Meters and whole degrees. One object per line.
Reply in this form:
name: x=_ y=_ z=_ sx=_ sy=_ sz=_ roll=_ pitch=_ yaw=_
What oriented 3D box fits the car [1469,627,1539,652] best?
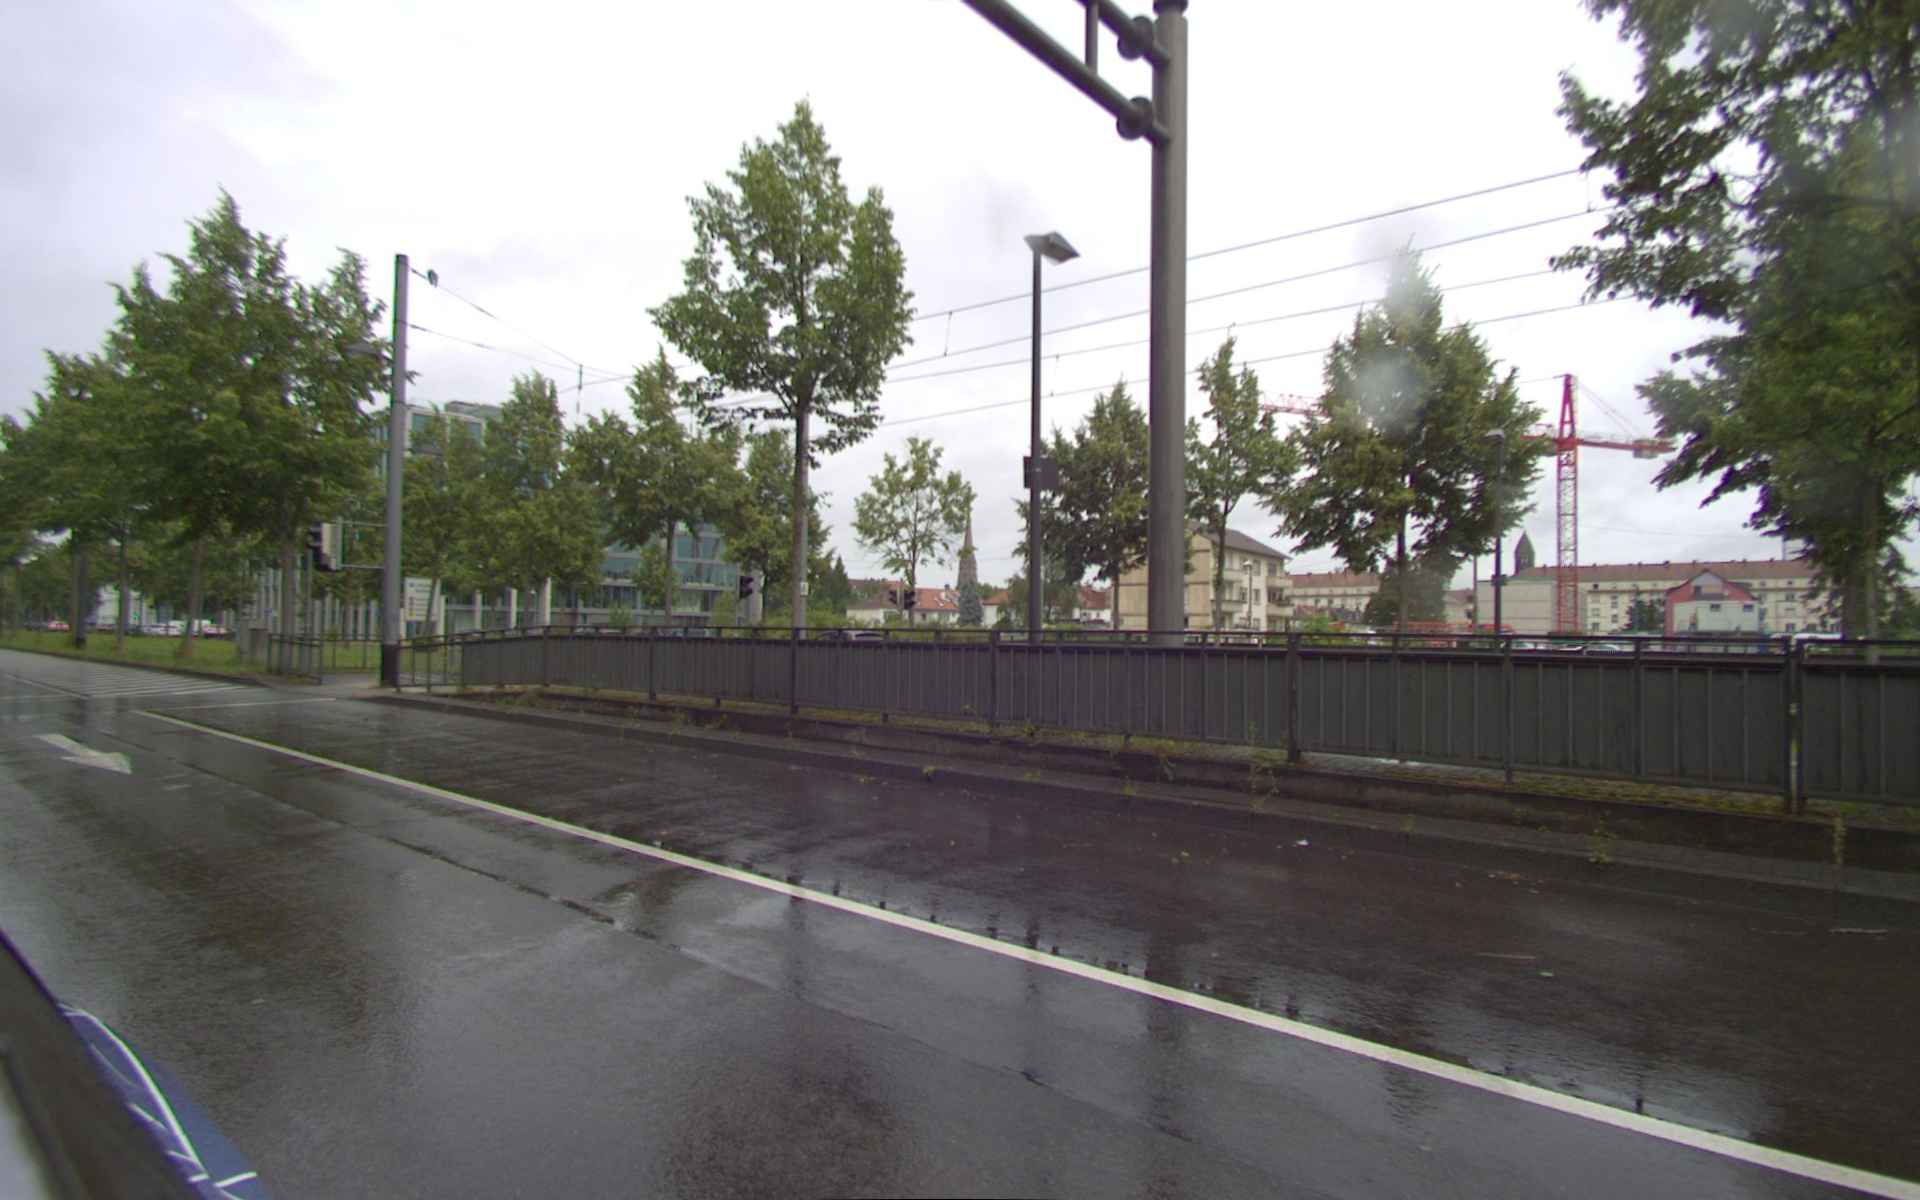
car: x=36.964 y=2.683 z=68.802 sx=3.810 sy=1.531 sz=1.722 roll=-4 pitch=-6 yaw=41

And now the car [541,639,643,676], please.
car: x=-17.464 y=2.685 z=47.912 sx=5.494 sy=1.620 sz=1.932 roll=-1 pitch=-4 yaw=39

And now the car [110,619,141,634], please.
car: x=-96.487 y=3.074 z=117.025 sx=3.957 sy=1.506 sz=1.931 roll=-4 pitch=-6 yaw=39

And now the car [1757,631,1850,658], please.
car: x=67.855 y=3.620 z=81.517 sx=5.505 sy=2.029 sz=1.975 roll=-4 pitch=-5 yaw=36

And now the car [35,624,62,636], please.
car: x=-116.684 y=3.868 z=129.568 sx=4.573 sy=1.463 sz=1.930 roll=-1 pitch=-4 yaw=41

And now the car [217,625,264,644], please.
car: x=-53.638 y=2.593 z=75.413 sx=4.846 sy=1.276 sz=1.533 roll=-3 pitch=-5 yaw=39

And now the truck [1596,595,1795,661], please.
truck: x=67.233 y=2.759 z=93.239 sx=13.213 sy=5.438 sz=6.159 roll=-2 pitch=-5 yaw=20

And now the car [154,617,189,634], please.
car: x=-88.269 y=2.871 z=113.228 sx=5.023 sy=1.665 sz=1.931 roll=-4 pitch=-6 yaw=39

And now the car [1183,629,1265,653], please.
car: x=20.389 y=3.201 z=78.320 sx=5.770 sy=1.685 sz=2.026 roll=-4 pitch=-6 yaw=39

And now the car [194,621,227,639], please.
car: x=-75.609 y=3.000 z=102.083 sx=4.577 sy=1.762 sz=1.929 roll=-2 pitch=-4 yaw=44

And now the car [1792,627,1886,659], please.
car: x=54.070 y=2.660 z=62.326 sx=3.984 sy=1.830 sz=1.811 roll=-3 pitch=-5 yaw=31

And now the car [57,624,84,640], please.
car: x=-115.594 y=4.153 z=131.505 sx=4.540 sy=1.863 sz=1.930 roll=-3 pitch=-5 yaw=40

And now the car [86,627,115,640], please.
car: x=-105.972 y=4.106 z=124.751 sx=4.600 sy=1.396 sz=1.931 roll=-4 pitch=-6 yaw=40

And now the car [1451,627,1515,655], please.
car: x=38.082 y=3.010 z=73.689 sx=3.984 sy=1.830 sz=1.811 roll=-3 pitch=-5 yaw=31

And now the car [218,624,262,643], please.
car: x=-53.843 y=2.493 z=75.658 sx=4.974 sy=1.307 sz=1.473 roll=0 pitch=-3 yaw=41

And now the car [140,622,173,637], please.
car: x=-87.255 y=3.229 z=109.935 sx=4.573 sy=1.525 sz=1.930 roll=-1 pitch=-4 yaw=41

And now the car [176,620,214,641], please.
car: x=-81.389 y=3.280 z=107.655 sx=5.371 sy=2.022 sz=2.243 roll=-5 pitch=-6 yaw=42
